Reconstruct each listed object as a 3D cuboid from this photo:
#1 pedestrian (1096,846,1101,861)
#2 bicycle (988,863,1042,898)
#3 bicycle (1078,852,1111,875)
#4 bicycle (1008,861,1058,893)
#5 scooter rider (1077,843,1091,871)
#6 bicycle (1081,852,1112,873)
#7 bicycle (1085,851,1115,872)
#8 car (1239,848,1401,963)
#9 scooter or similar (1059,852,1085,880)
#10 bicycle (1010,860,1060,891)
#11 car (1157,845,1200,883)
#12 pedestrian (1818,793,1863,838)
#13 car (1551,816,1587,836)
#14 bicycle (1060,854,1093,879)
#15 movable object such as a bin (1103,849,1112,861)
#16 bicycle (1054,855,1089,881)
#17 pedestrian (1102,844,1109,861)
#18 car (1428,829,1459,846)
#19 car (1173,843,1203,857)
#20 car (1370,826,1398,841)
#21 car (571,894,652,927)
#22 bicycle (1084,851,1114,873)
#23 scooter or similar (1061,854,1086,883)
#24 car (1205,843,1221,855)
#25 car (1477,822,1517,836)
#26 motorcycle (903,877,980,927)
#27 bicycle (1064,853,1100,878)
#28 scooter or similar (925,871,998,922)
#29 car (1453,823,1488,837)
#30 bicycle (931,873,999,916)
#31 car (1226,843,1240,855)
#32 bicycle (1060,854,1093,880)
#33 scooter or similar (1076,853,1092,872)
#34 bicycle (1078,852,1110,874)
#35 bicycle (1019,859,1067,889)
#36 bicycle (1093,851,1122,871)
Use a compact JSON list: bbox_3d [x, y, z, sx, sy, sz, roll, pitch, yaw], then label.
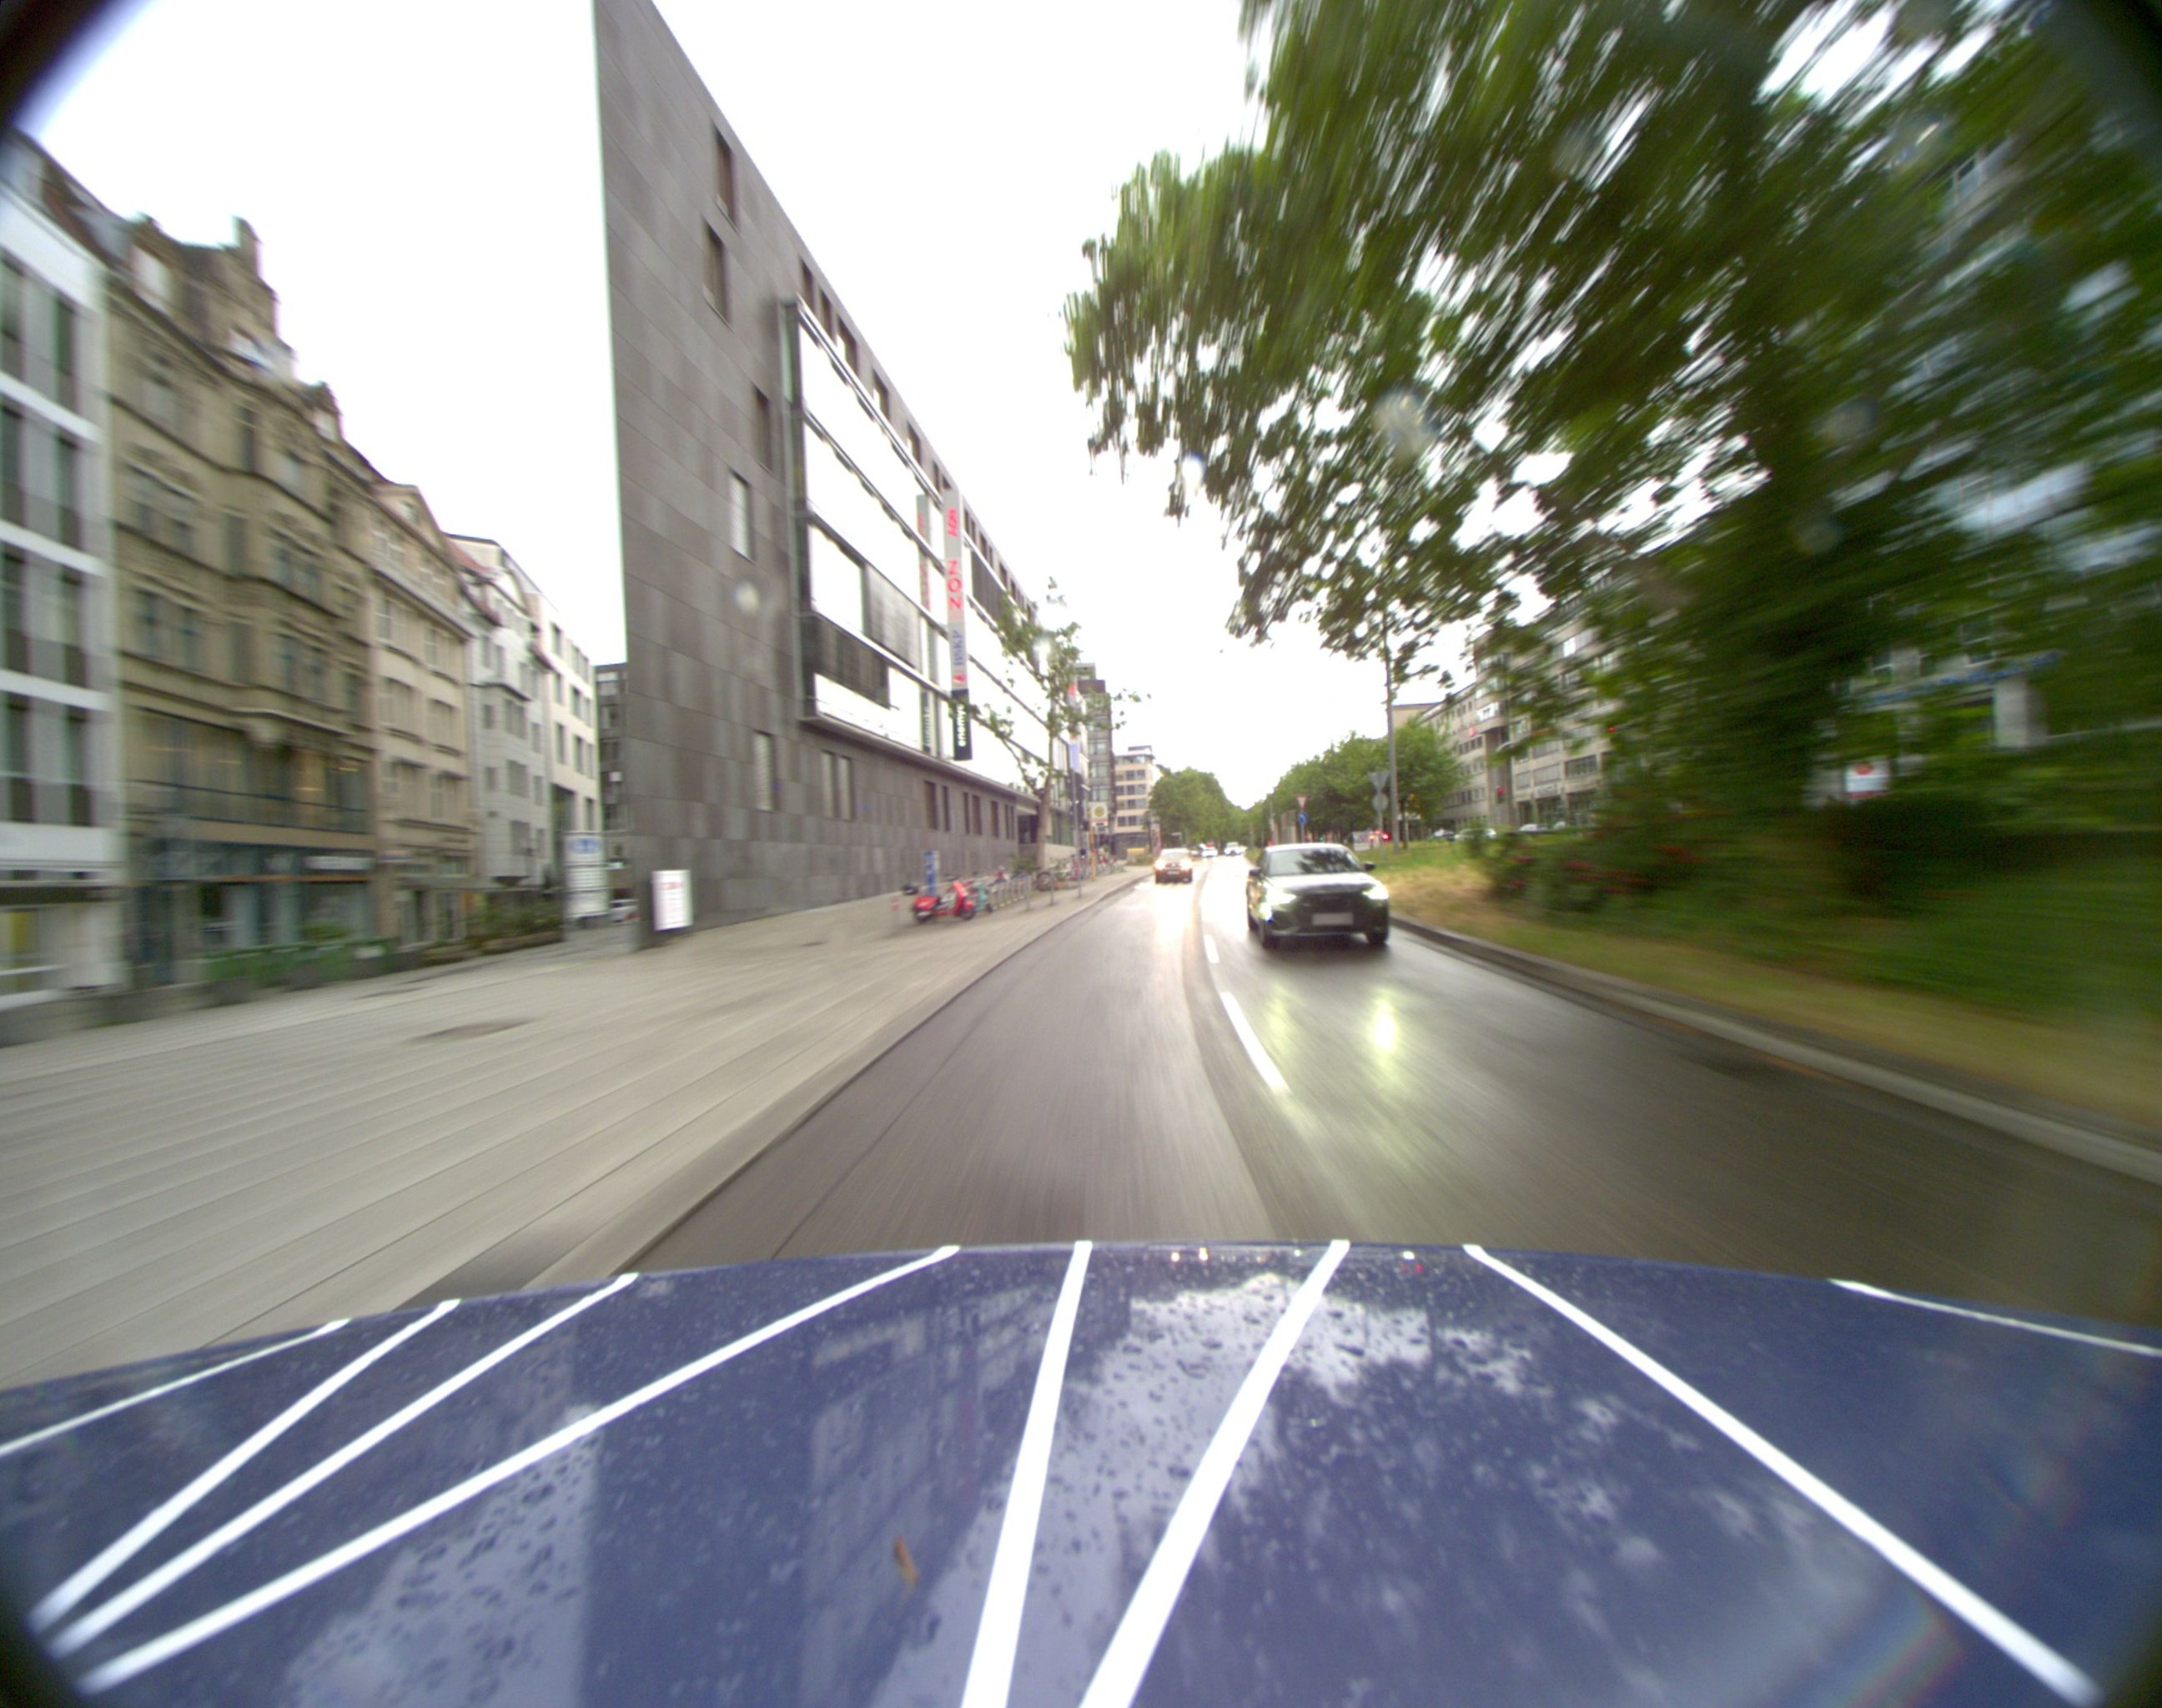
[{"bbox_3d":[1.994,-0.082,84.883,0.484,1.689,0.579,-1,1,8],"label":"pedestrian"},{"bbox_3d":[-2.394,0.943,27.577,1.798,1.101,0.670,-4,2,4],"label":"bicycle"},{"bbox_3d":[0.758,0.516,41.583,1.733,1.133,0.689,-2,1,4],"label":"bicycle"},{"bbox_3d":[-1.853,0.891,29.321,1.798,1.062,0.556,-4,2,5],"label":"bicycle"},{"bbox_3d":[0.217,0.203,54.571,0.779,2.009,0.925,-2,1,13],"label":"scooter rider"},{"bbox_3d":[0.885,0.479,43.476,1.733,1.176,0.689,-2,1,4],"label":"bicycle"},{"bbox_3d":[1.146,0.451,45.352,1.733,1.176,0.689,-2,1,4],"label":"bicycle"},{"bbox_3d":[3.782,0.711,12.787,1.864,1.509,4.347,-3,0,8],"label":"car"},{"bbox_3d":[-0.404,0.559,35.200,1.108,1.251,0.302,-3,2,3],"label":"scooter or similar"},{"bbox_3d":[-1.812,0.861,29.933,1.798,1.062,0.556,-4,2,5],"label":"bicycle"},{"bbox_3d":[4.419,0.394,34.060,1.593,1.501,3.711,-3,1,11],"label":"car"},{"bbox_3d":[35.618,-1.799,35.662,1.055,2.002,1.035,-3,1,-3],"label":"pedestrian"},{"bbox_3d":[36.345,-2.076,56.633,1.242,1.377,2.629,-5,0,10],"label":"car"},{"bbox_3d":[-0.231,0.623,37.928,1.538,1.134,0.689,-3,2,4],"label":"bicycle"},{"bbox_3d":[2.939,0.131,83.463,0.804,1.258,1.789,-1,1,8],"label":"movable object such as a bin"},{"bbox_3d":[-0.449,0.679,36.391,1.538,1.134,0.662,-3,2,4],"label":"bicycle"},{"bbox_3d":[2.748,-0.157,84.782,0.723,1.820,0.747,-1,1,8],"label":"pedestrian"},{"bbox_3d":[38.744,-1.758,81.238,1.574,1.571,4.109,-5,0,6],"label":"car"},{"bbox_3d":[17.044,-0.607,121.048,4.202,1.801,2.003,-4,0,45],"label":"car"},{"bbox_3d":[32.804,-2.209,82.300,1.798,1.502,4.001,-2,1,6],"label":"car"},{"bbox_3d":[-29.539,3.508,47.953,4.073,1.608,1.701,-5,1,-25],"label":"car"},{"bbox_3d":[1.059,0.463,44.519,1.733,1.176,0.689,-2,1,4],"label":"bicycle"},{"bbox_3d":[-0.364,0.659,34.830,1.063,1.251,0.302,-3,2,3],"label":"scooter or similar"},{"bbox_3d":[18.768,-0.747,108.216,2.071,1.578,4.110,-5,0,10],"label":"car"},{"bbox_3d":[37.195,-2.221,68.064,1.574,1.116,4.109,-5,0,6],"label":"car"},{"bbox_3d":[-3.616,1.253,19.791,1.796,1.133,0.596,-4,2,4],"label":"motorcycle"},{"bbox_3d":[0.056,0.587,38.682,1.709,1.134,0.689,-3,2,4],"label":"bicycle"},{"bbox_3d":[-3.266,1.152,20.847,1.796,1.236,0.596,-4,2,4],"label":"scooter or similar"},{"bbox_3d":[37.937,-2.345,74.053,1.574,1.116,4.109,-5,0,6],"label":"car"},{"bbox_3d":[-3.389,1.184,22.307,1.798,1.101,0.670,-4,2,4],"label":"bicycle"},{"bbox_3d":[20.463,-0.694,102.505,1.604,1.377,3.021,-5,0,10],"label":"car"},{"bbox_3d":[-0.221,0.637,37.151,1.538,1.134,0.689,-3,2,4],"label":"bicycle"},{"bbox_3d":[0.231,0.627,54.567,0.779,1.298,1.336,-2,1,13],"label":"scooter or similar"},{"bbox_3d":[0.726,0.510,42.623,1.733,1.133,0.689,-2,1,4],"label":"bicycle"},{"bbox_3d":[-1.521,0.824,30.777,1.798,1.062,0.556,-4,2,5],"label":"bicycle"},{"bbox_3d":[1.614,0.423,46.335,1.733,1.176,0.689,-2,1,4],"label":"bicycle"}]
